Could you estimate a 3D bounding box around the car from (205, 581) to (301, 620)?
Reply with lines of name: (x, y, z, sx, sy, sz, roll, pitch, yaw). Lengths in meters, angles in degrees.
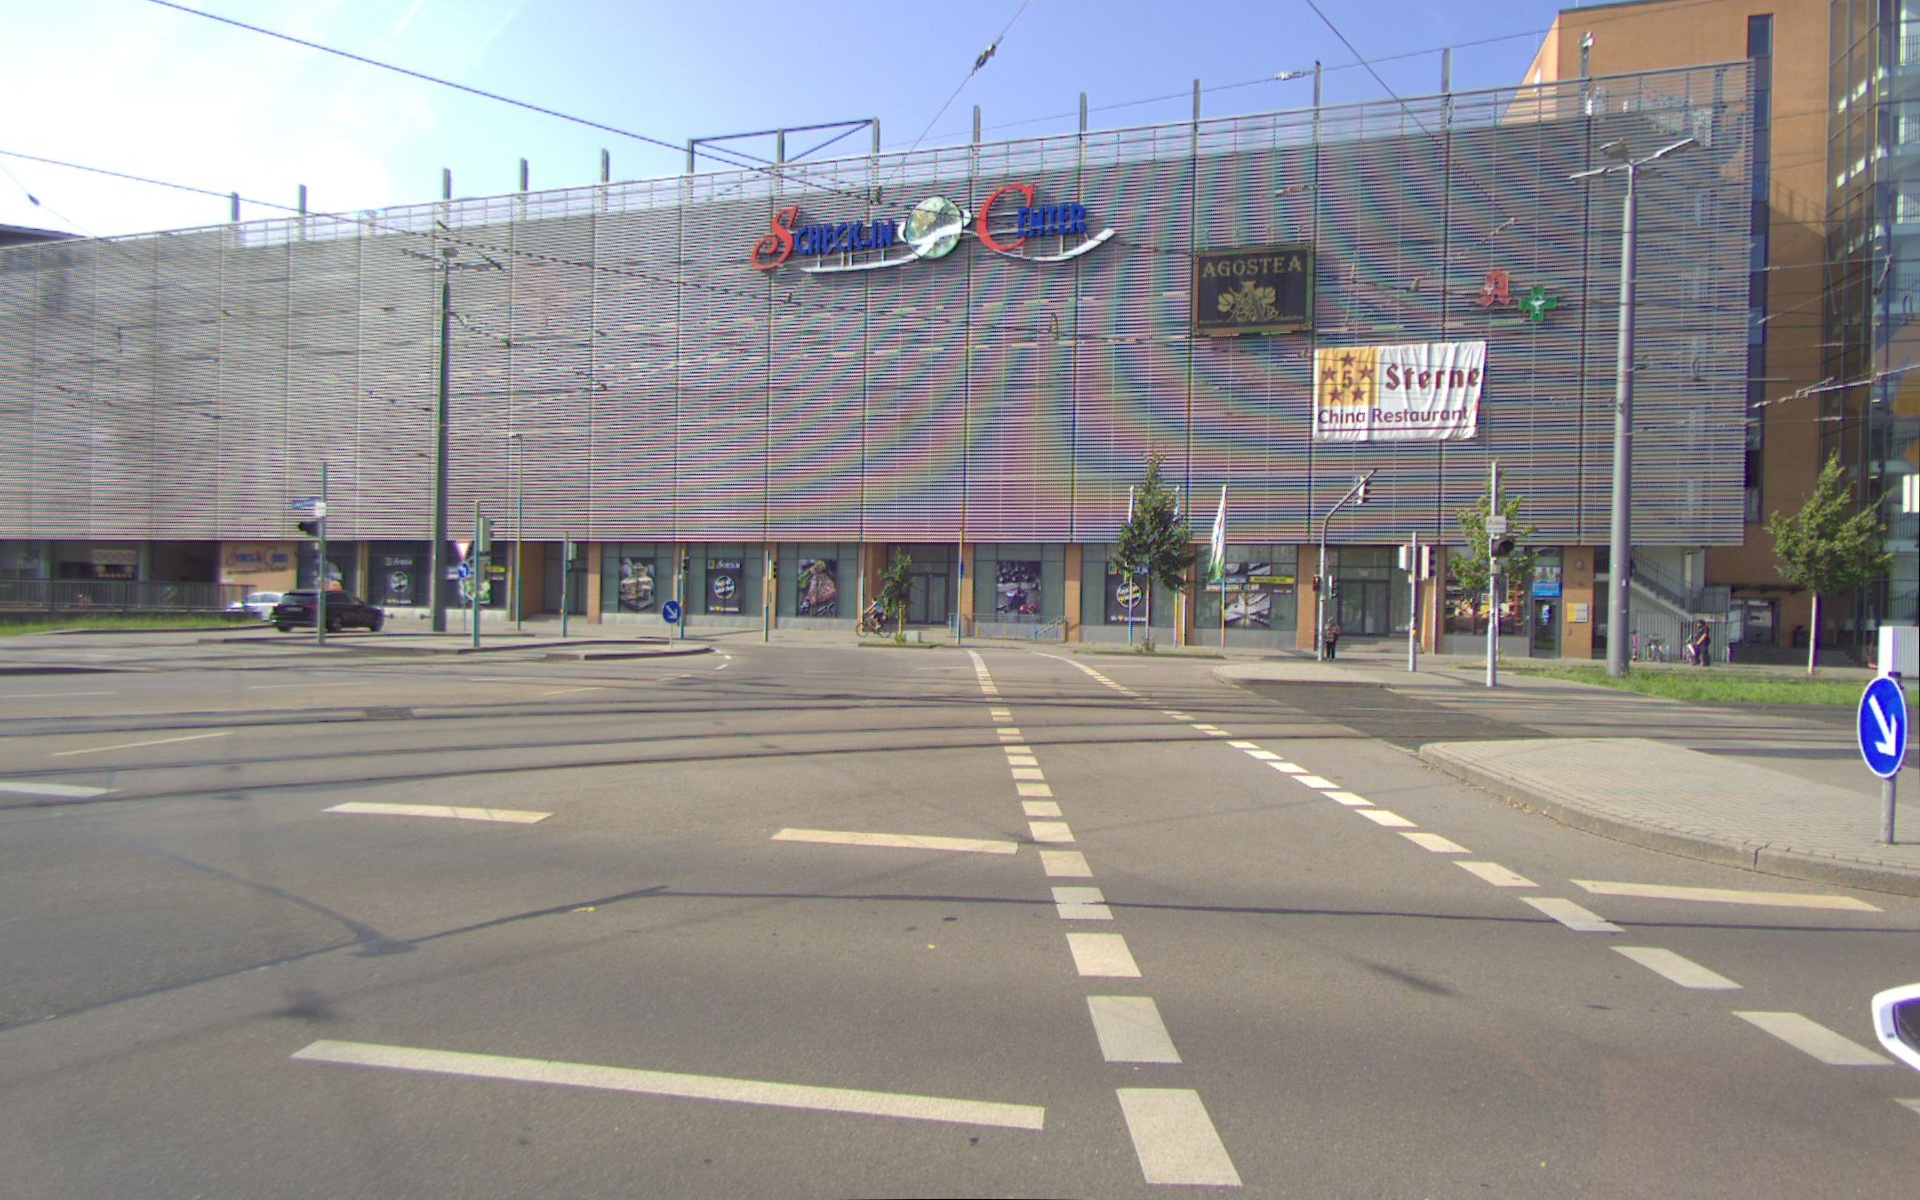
car: (-31.964, 0.018, 45.455, 3.333, 1.580, 1.744, 3, -1, 15)

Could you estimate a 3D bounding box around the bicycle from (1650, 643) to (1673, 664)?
bicycle: (27.856, 2.124, 39.904, 0.443, 0.762, 1.006, 1, 0, 16)

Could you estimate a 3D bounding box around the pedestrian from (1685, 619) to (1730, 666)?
pedestrian: (28.731, 1.627, 38.630, 1.153, 1.742, 0.820, 1, 0, 15)

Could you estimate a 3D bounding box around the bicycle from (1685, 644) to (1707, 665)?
bicycle: (28.976, 2.143, 39.576, 0.354, 0.762, 1.024, 1, 0, 16)

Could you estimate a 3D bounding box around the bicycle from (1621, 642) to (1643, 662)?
bicycle: (26.909, 2.090, 40.240, 0.443, 0.762, 1.006, 1, 0, 16)

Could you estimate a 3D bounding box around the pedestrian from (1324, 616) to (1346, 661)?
pedestrian: (13.663, 1.393, 36.596, 0.578, 1.600, 0.764, 1, 0, 11)

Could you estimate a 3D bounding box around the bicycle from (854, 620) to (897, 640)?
bicycle: (-3.809, 1.336, 45.347, 1.831, 0.790, 0.583, 3, 0, 15)

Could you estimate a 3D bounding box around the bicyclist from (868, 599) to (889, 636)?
bicyclist: (-3.685, 0.785, 45.327, 0.700, 1.651, 0.569, 3, 0, 14)

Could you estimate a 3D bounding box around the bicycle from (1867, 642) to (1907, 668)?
bicycle: (36.073, 2.129, 39.099, 0.403, 0.953, 1.585, 1, 0, 14)
